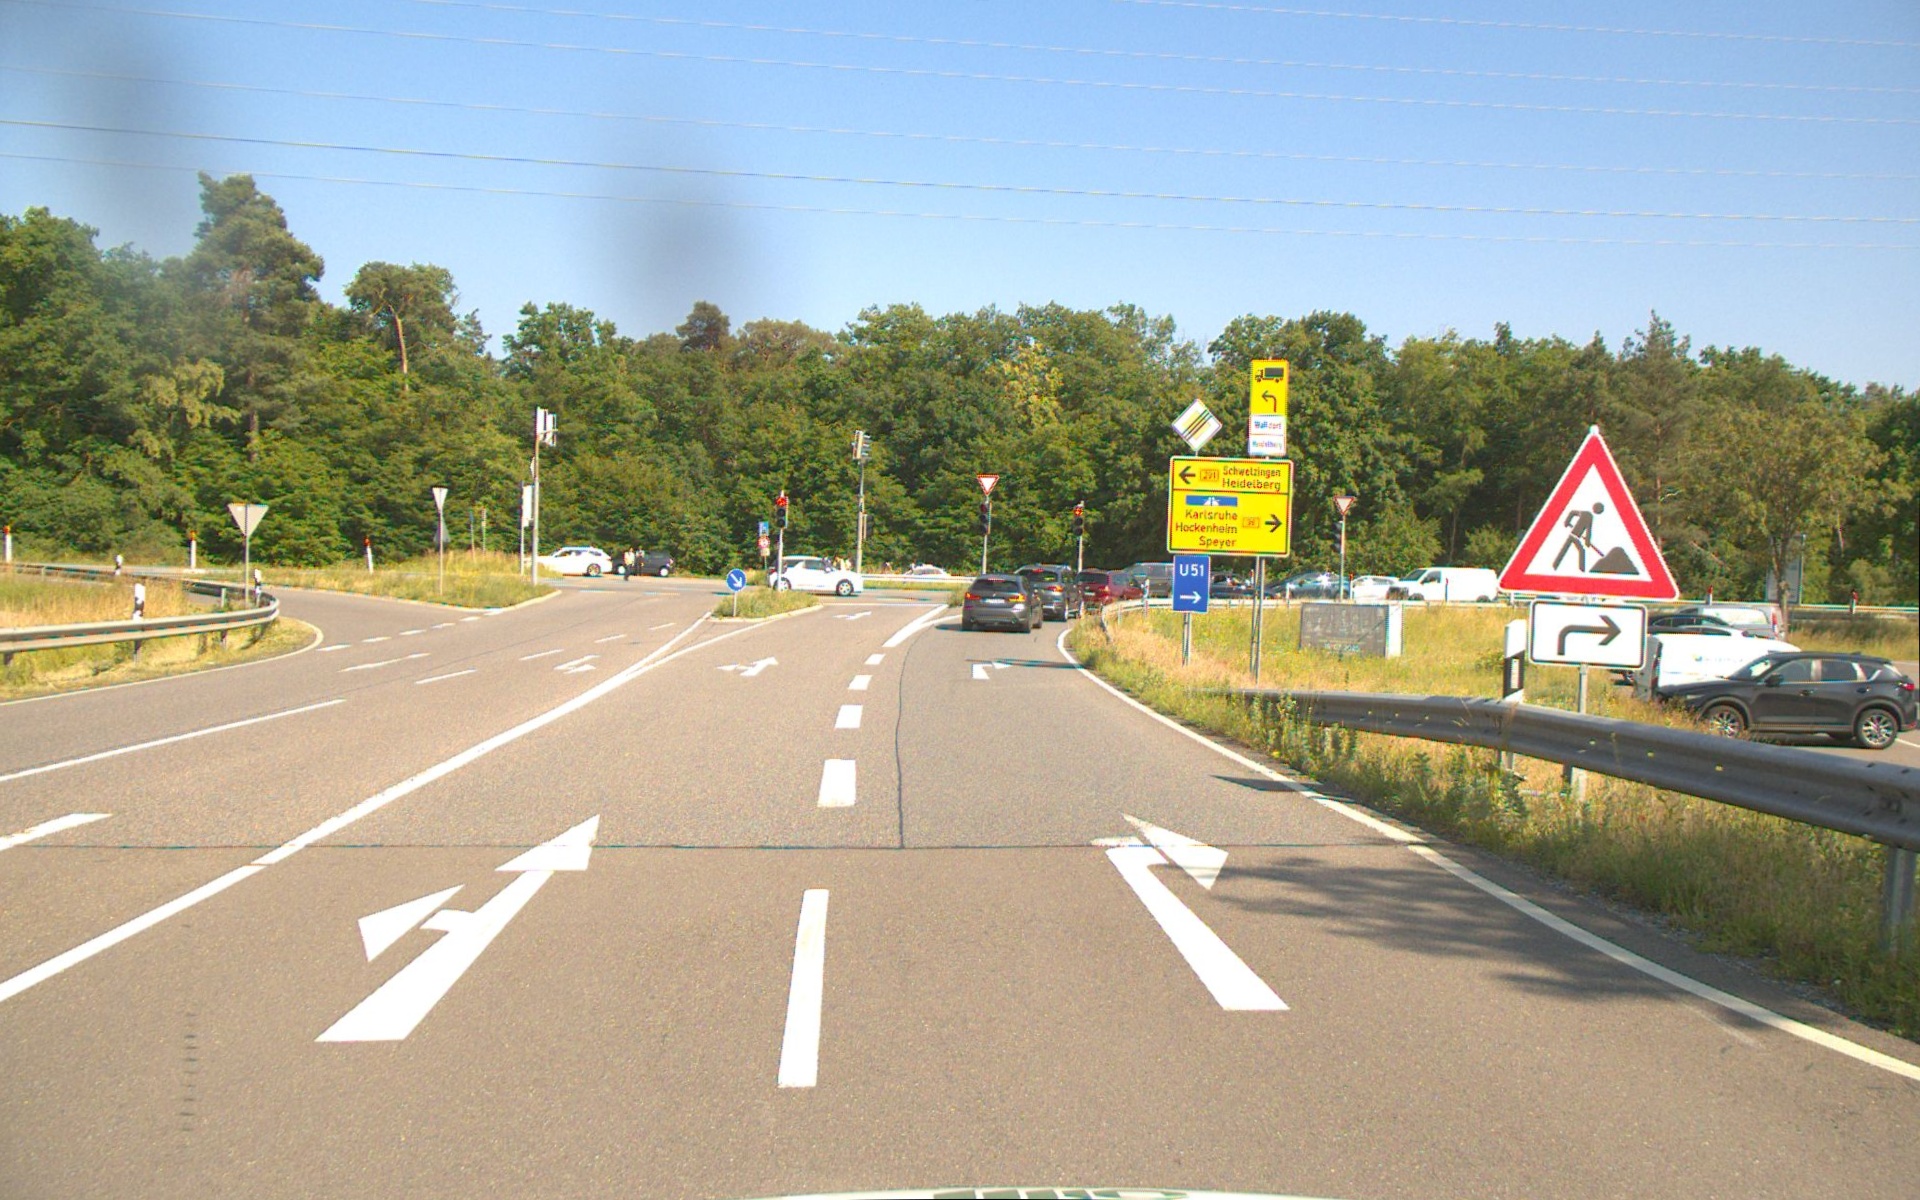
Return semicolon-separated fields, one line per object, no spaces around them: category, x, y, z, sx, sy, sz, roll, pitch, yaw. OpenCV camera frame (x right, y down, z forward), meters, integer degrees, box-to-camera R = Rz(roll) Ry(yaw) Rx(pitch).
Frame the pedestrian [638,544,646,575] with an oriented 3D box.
pedestrian;-18.041;-2.290;93.725;0.400;1.744;0.452;-1;1;-7

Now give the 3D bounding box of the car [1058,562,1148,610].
car;4.902;-0.471;56.121;1.764;1.527;3.997;2;1;25

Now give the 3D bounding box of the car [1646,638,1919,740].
car;15.412;1.640;31.084;4.319;1.696;1.903;0;2;9

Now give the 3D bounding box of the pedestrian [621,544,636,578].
pedestrian;-16.933;-1.987;84.442;0.743;1.751;0.677;0;1;-13

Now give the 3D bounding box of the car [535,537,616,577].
car;-20.405;-2.295;87.733;3.937;2.049;1.782;-1;1;-25

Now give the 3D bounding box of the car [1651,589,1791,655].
car;25.656;0.716;55.812;3.921;1.909;1.884;4;2;36

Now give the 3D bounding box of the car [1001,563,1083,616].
car;2.555;-0.344;50.764;1.761;1.527;4.004;2;1;13

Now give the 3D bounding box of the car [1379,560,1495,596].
car;22.155;-1.016;76.905;4.793;1.579;1.995;-1;1;-10

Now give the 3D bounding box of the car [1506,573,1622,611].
car;25.387;-0.351;69.552;4.152;1.485;1.995;-1;1;-11

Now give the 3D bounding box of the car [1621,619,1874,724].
car;16.099;1.429;34.025;4.262;1.814;1.903;3;1;9

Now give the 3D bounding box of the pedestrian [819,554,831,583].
pedestrian;-6.587;-1.522;80.737;0.512;1.415;0.514;-1;1;7

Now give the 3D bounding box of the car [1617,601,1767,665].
car;22.358;0.984;50.535;3.915;1.647;1.887;4;2;31

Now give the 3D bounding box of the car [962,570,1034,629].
car;1.034;-0.049;43.360;1.762;1.422;4.002;2;1;3

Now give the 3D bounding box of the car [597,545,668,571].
car;-18.735;-2.400;94.641;3.914;1.447;1.792;-1;1;-10

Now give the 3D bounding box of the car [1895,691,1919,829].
car;14.081;2.026;19.875;4.558;1.655;2.000;1;1;-2

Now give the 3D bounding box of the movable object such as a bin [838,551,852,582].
movable object such as a bin;-5.656;-1.636;81.473;0.589;1.514;0.732;-1;1;4

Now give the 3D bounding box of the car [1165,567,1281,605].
car;10.782;-0.598;67.861;4.286;1.485;1.995;-1;1;-11

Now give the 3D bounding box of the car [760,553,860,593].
car;-5.873;-1.043;64.620;3.764;1.512;1.886;0;1;-11

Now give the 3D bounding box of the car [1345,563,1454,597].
car;21.375;-0.977;80.512;4.793;1.579;1.995;-1;1;-10
